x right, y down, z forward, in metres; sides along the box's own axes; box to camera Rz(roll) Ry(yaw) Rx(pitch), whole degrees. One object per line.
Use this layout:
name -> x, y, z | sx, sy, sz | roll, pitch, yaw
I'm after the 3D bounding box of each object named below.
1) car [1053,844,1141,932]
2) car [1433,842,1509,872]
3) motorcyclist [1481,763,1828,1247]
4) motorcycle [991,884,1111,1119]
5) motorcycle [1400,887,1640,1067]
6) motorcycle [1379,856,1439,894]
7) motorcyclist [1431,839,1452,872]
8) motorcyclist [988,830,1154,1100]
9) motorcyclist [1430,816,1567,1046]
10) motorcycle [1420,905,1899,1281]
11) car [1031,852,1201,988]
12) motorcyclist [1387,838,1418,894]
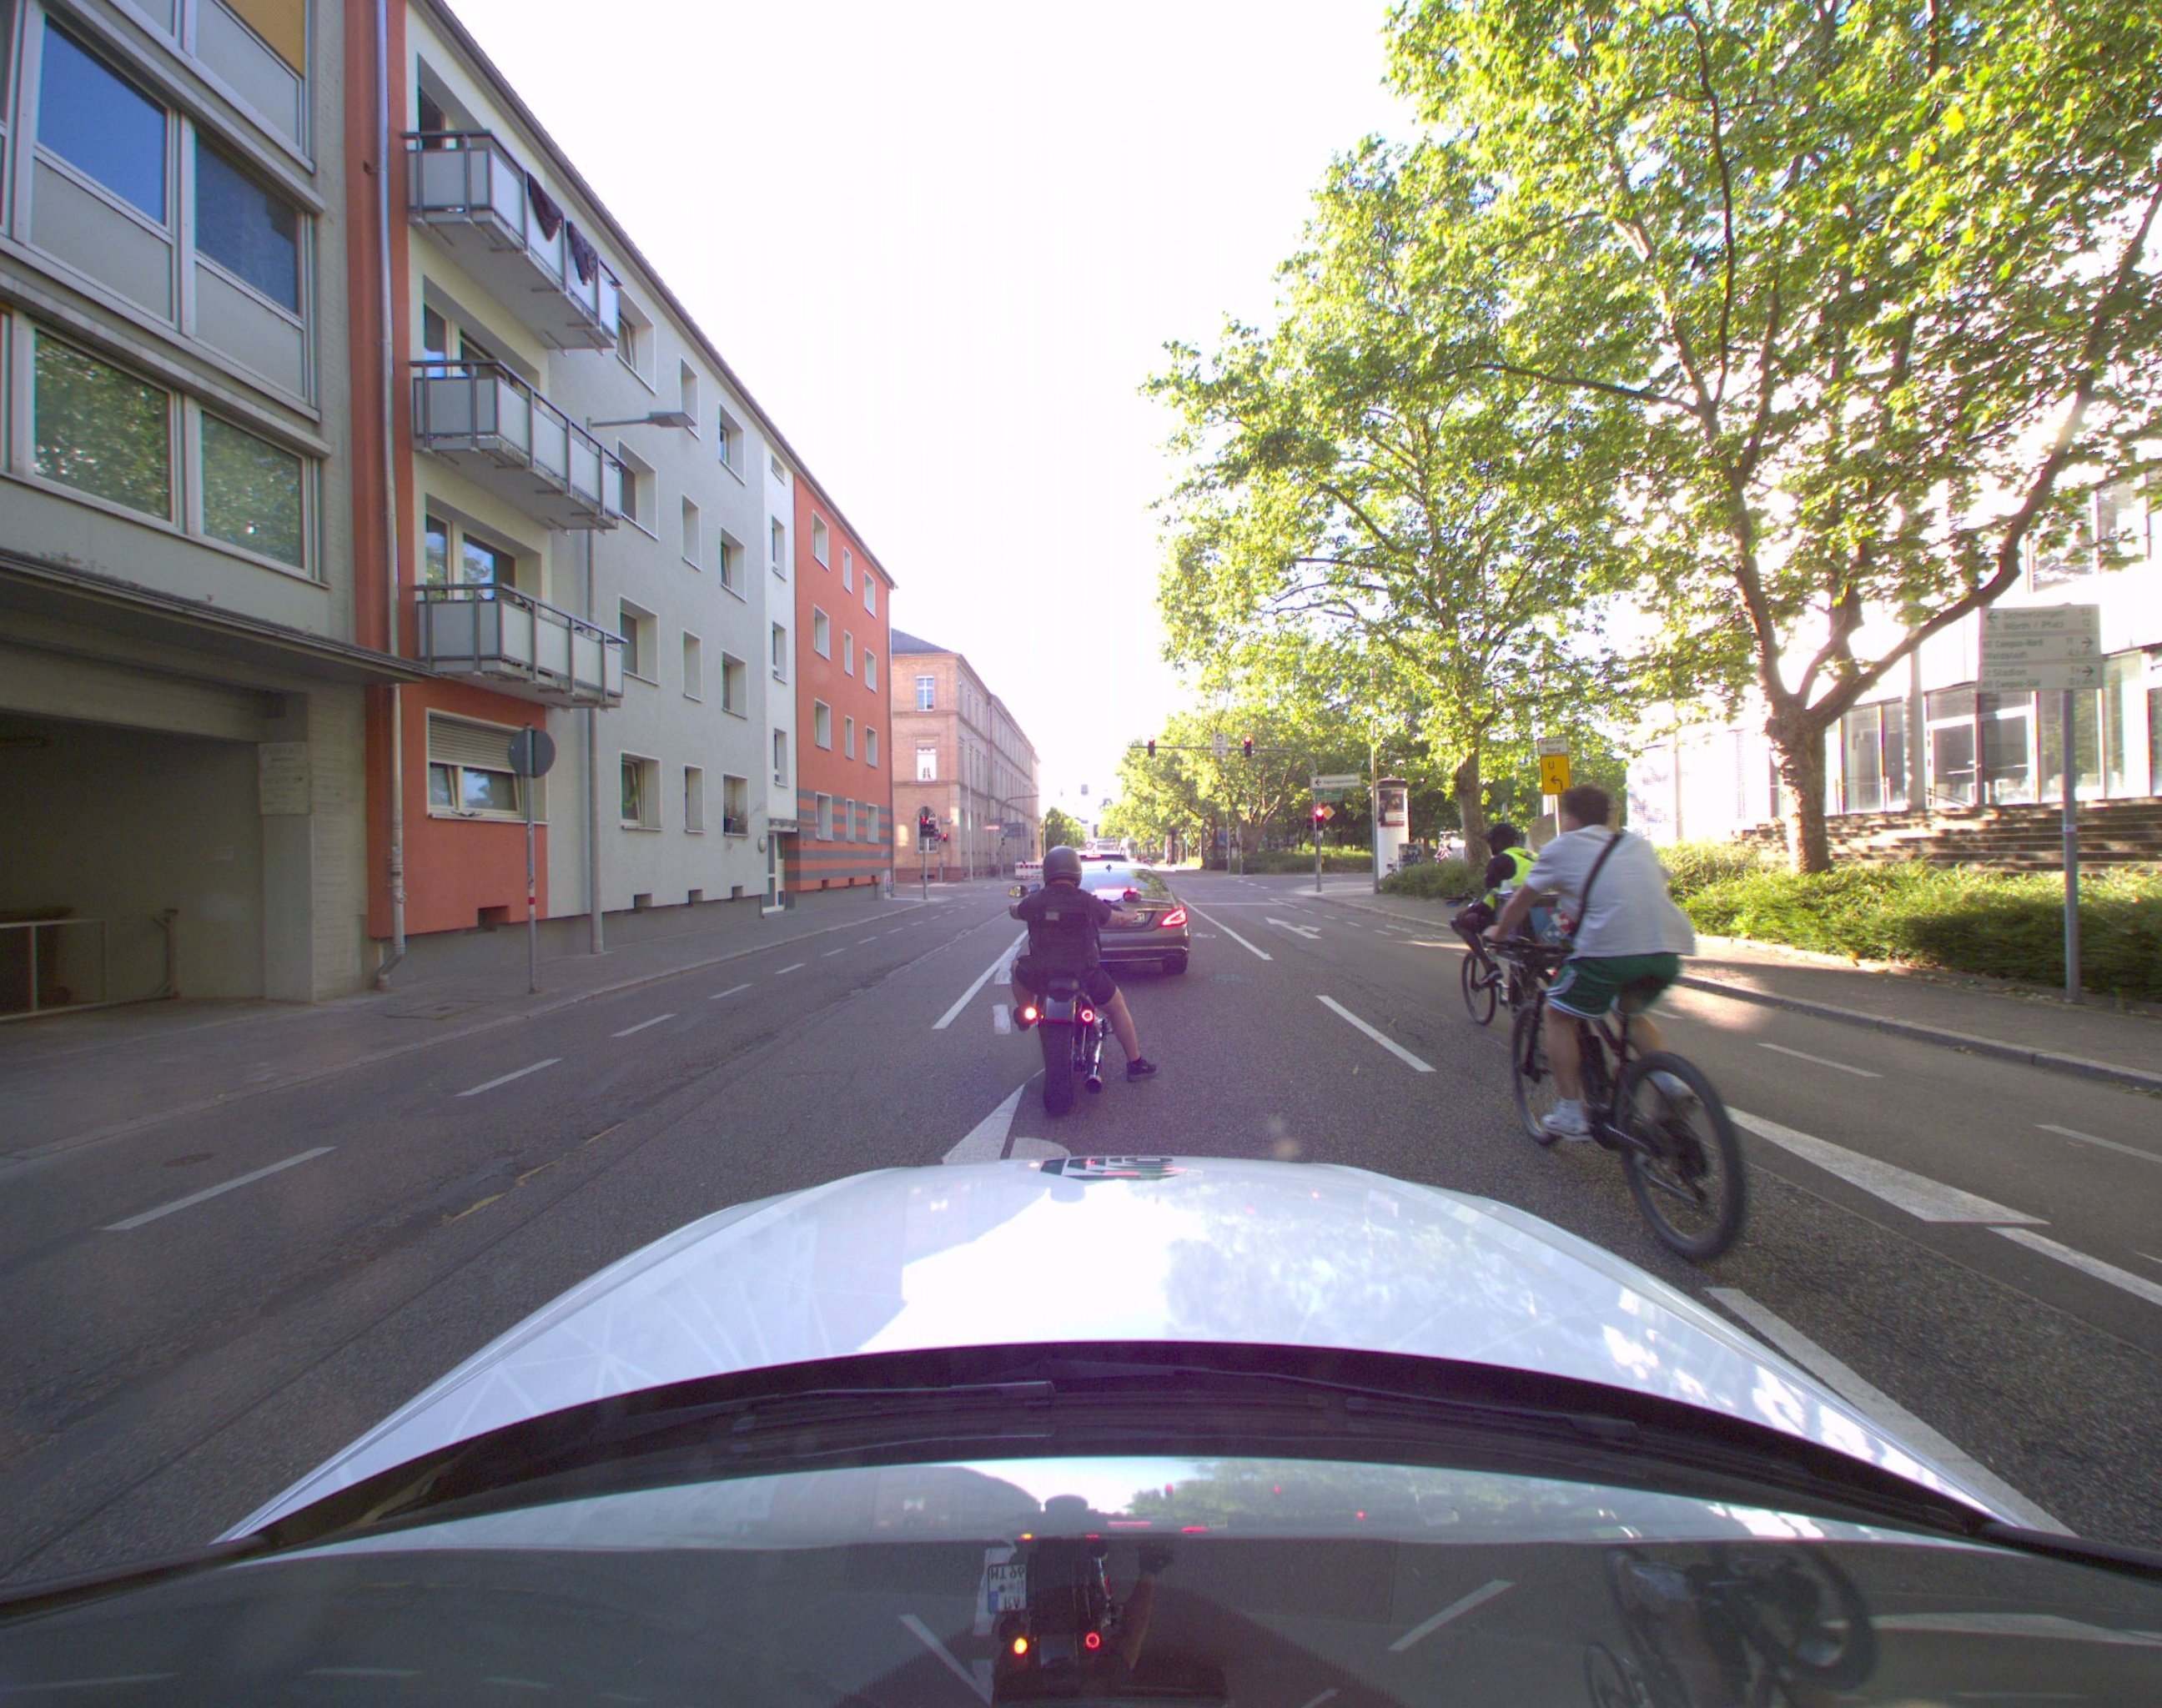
car -> 0.367, 0.662, 17.348 | 1.645, 1.652, 4.002 | 0, -1, 2
car -> 24.635, 0.202, 51.536 | 3.974, 1.772, 1.738 | -1, 0, -1
motorcyclist -> 2.347, 0.563, 3.477 | 0.828, 1.788, 0.913 | 0, -1, 1
motorcycle -> -0.134, 0.856, 5.554 | 0.657, 1.240, 2.058 | 0, -1, 2
motorcycle -> 3.399, 0.874, 6.616 | 0.794, 1.131, 2.237 | 0, -1, 2
motorcycle -> 11.078, 0.711, 27.557 | 1.771, 1.243, 0.724 | 0, -1, 7
motorcyclist -> 20.872, 0.089, 47.181 | 0.978, 1.876, 0.377 | -1, -1, 6
motorcyclist -> -0.045, 0.672, 5.461 | 0.986, 1.611, 1.121 | 0, -1, 1
motorcyclist -> 3.331, 0.585, 6.566 | 0.714, 1.743, 0.751 | 0, -1, 1
motorcycle -> 2.367, 0.874, 3.737 | 0.859, 1.168, 1.930 | 0, -1, 2
car -> 0.269, 0.746, 11.256 | 1.821, 1.486, 4.325 | 0, 0, -5
motorcyclist -> 10.890, 0.391, 27.568 | 0.818, 1.863, 0.673 | 0, -1, 7
